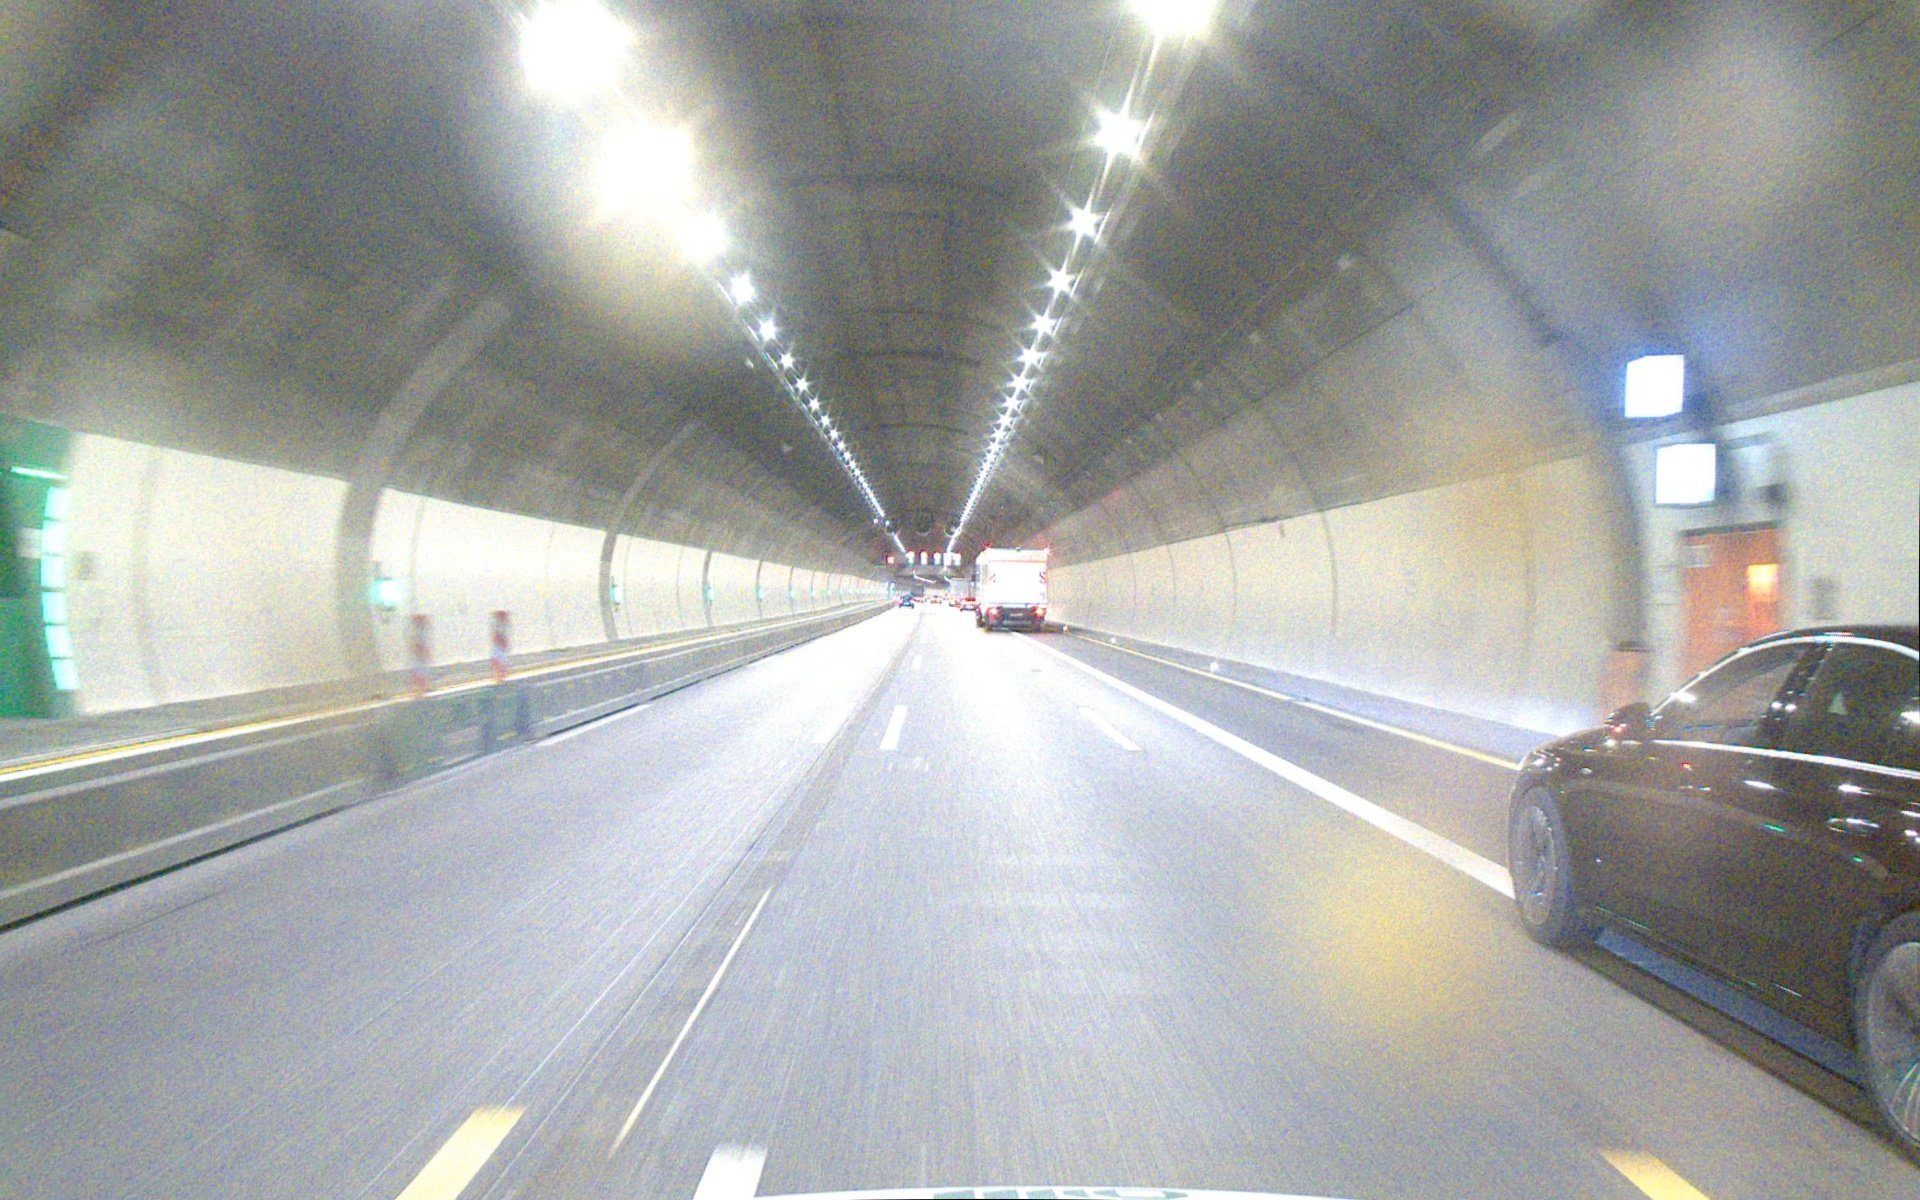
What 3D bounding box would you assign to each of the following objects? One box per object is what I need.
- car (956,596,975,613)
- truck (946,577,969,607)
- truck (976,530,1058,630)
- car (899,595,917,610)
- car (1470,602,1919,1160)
[{"bbox_3d":[0.553,0.439,161.575,1.704,1.486,3.960,2,1,1],"label":"car"},{"bbox_3d":[-0.342,-1.122,238.347,3.003,3.986,10.367,2,-1,1],"label":"truck"},{"bbox_3d":[2.379,-0.743,72.839,3.029,3.986,10.365,2,-1,-1],"label":"truck"},{"bbox_3d":[-5.401,0.233,170.691,1.723,1.486,4.118,2,1,-1],"label":"car"},{"bbox_3d":[3.527,0.789,5.781,1.886,1.498,4.953,2,0,-1],"label":"car"}]
